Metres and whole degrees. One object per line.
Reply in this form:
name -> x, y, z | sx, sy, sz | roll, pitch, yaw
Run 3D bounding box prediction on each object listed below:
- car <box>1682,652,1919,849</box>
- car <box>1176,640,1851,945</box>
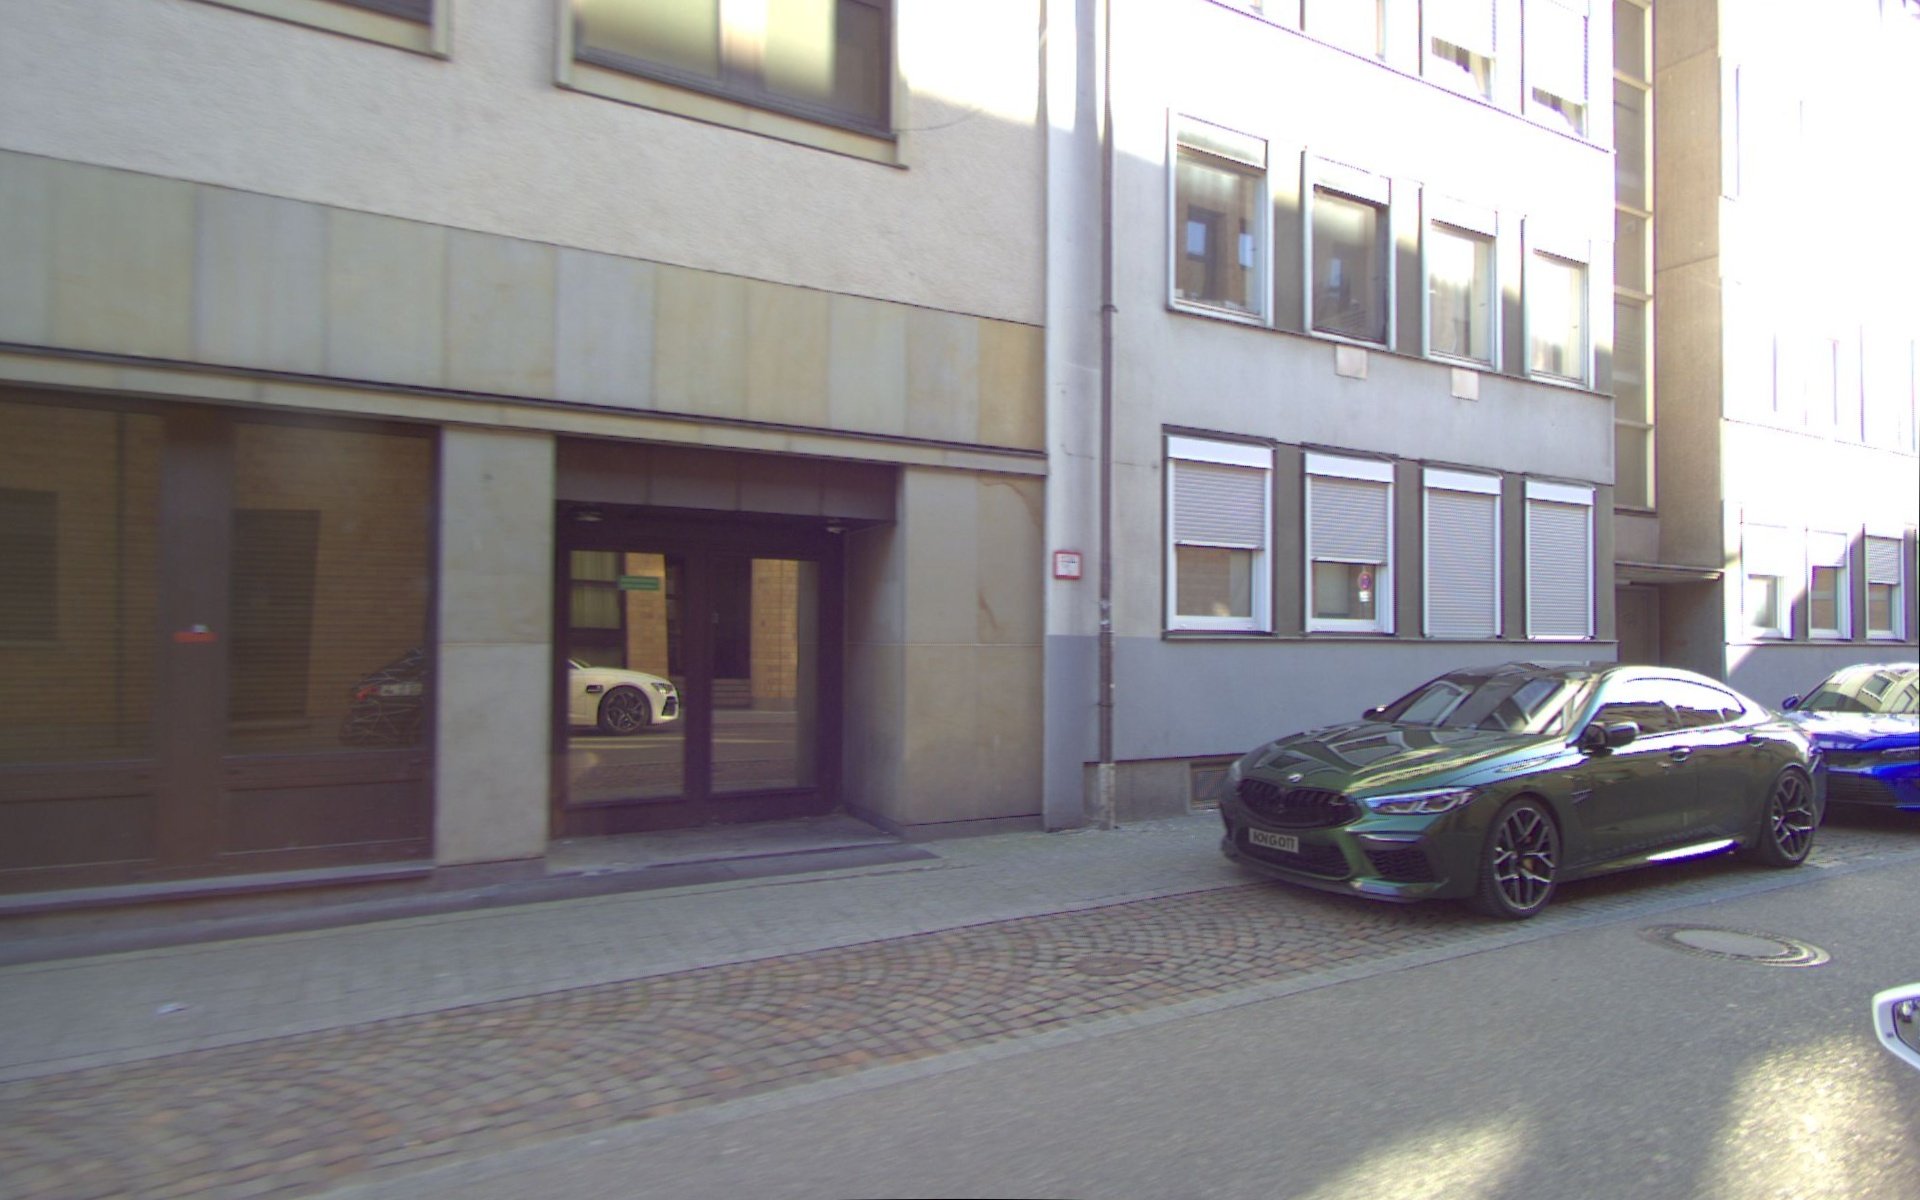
car -> 9.229, 1.288, 9.741 | 4.284, 1.550, 1.883 | 1, -3, -27
car -> 3.972, 1.081, 7.083 | 4.668, 1.550, 1.883 | 1, -4, -28
